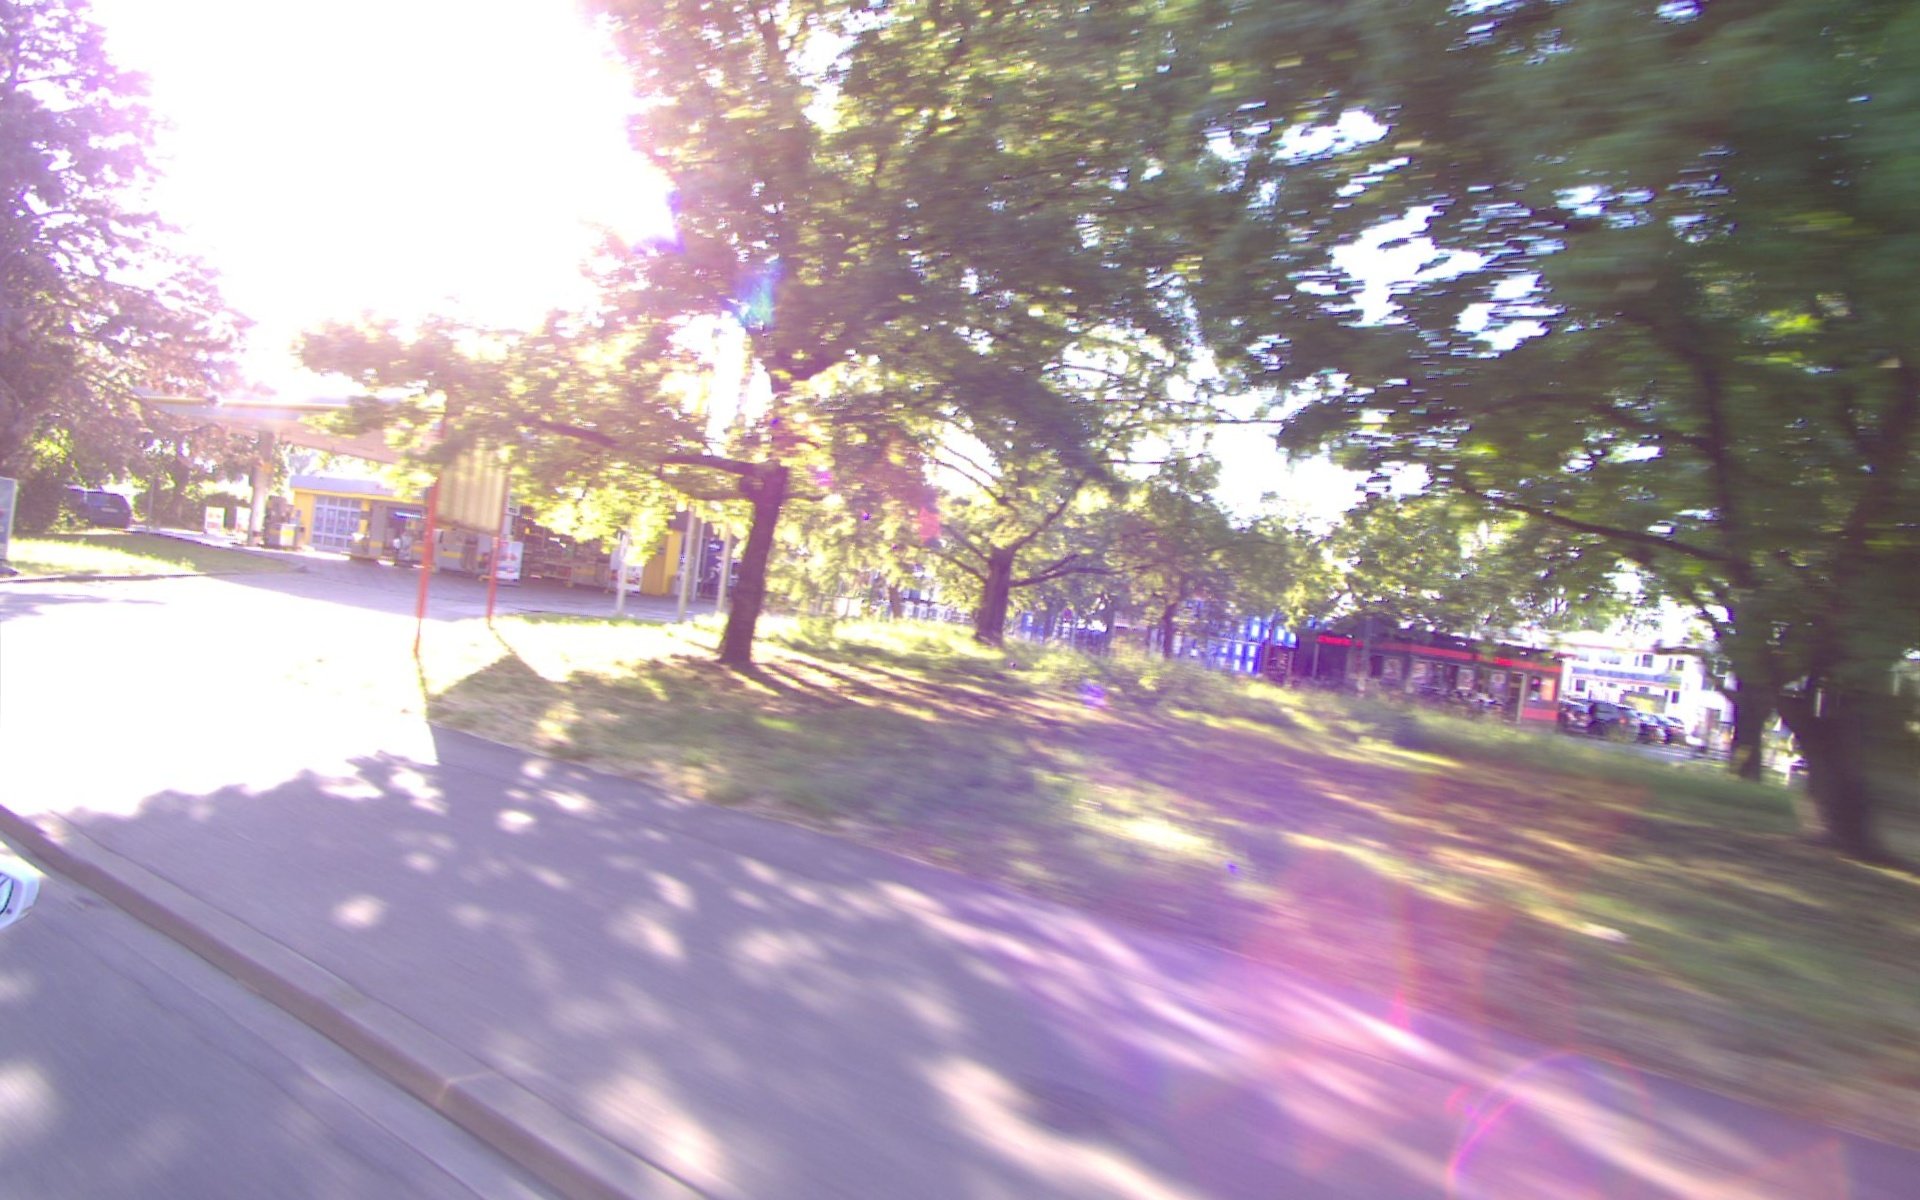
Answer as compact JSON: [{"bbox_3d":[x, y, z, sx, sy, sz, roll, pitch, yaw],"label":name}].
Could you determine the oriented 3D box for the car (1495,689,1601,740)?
[{"bbox_3d":[27.198,5.256,46.635,1.682,1.707,3.843,9,-2,-25],"label":"car"}]

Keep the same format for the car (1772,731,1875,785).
[{"bbox_3d":[33.242,6.080,38.709,3.904,1.498,1.673,10,-3,-29],"label":"car"}]

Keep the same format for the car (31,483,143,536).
[{"bbox_3d":[-32.021,-3.318,36.895,3.932,1.437,1.845,7,0,30],"label":"car"}]

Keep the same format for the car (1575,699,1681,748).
[{"bbox_3d":[32.285,5.942,48.724,1.682,1.707,3.843,9,-2,-25],"label":"car"}]

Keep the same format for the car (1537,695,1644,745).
[{"bbox_3d":[29.799,5.650,47.664,1.682,1.707,3.843,9,-2,-25],"label":"car"}]

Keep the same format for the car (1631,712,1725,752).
[{"bbox_3d":[38.166,6.989,53.538,1.682,1.478,3.627,9,-2,-25],"label":"car"}]

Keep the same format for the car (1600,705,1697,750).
[{"bbox_3d":[35.428,6.543,51.869,1.682,1.707,3.627,9,-2,-25],"label":"car"}]

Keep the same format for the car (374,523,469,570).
[{"bbox_3d":[-26.200,-2.597,48.945,4.321,1.749,1.816,7,0,27],"label":"car"}]
